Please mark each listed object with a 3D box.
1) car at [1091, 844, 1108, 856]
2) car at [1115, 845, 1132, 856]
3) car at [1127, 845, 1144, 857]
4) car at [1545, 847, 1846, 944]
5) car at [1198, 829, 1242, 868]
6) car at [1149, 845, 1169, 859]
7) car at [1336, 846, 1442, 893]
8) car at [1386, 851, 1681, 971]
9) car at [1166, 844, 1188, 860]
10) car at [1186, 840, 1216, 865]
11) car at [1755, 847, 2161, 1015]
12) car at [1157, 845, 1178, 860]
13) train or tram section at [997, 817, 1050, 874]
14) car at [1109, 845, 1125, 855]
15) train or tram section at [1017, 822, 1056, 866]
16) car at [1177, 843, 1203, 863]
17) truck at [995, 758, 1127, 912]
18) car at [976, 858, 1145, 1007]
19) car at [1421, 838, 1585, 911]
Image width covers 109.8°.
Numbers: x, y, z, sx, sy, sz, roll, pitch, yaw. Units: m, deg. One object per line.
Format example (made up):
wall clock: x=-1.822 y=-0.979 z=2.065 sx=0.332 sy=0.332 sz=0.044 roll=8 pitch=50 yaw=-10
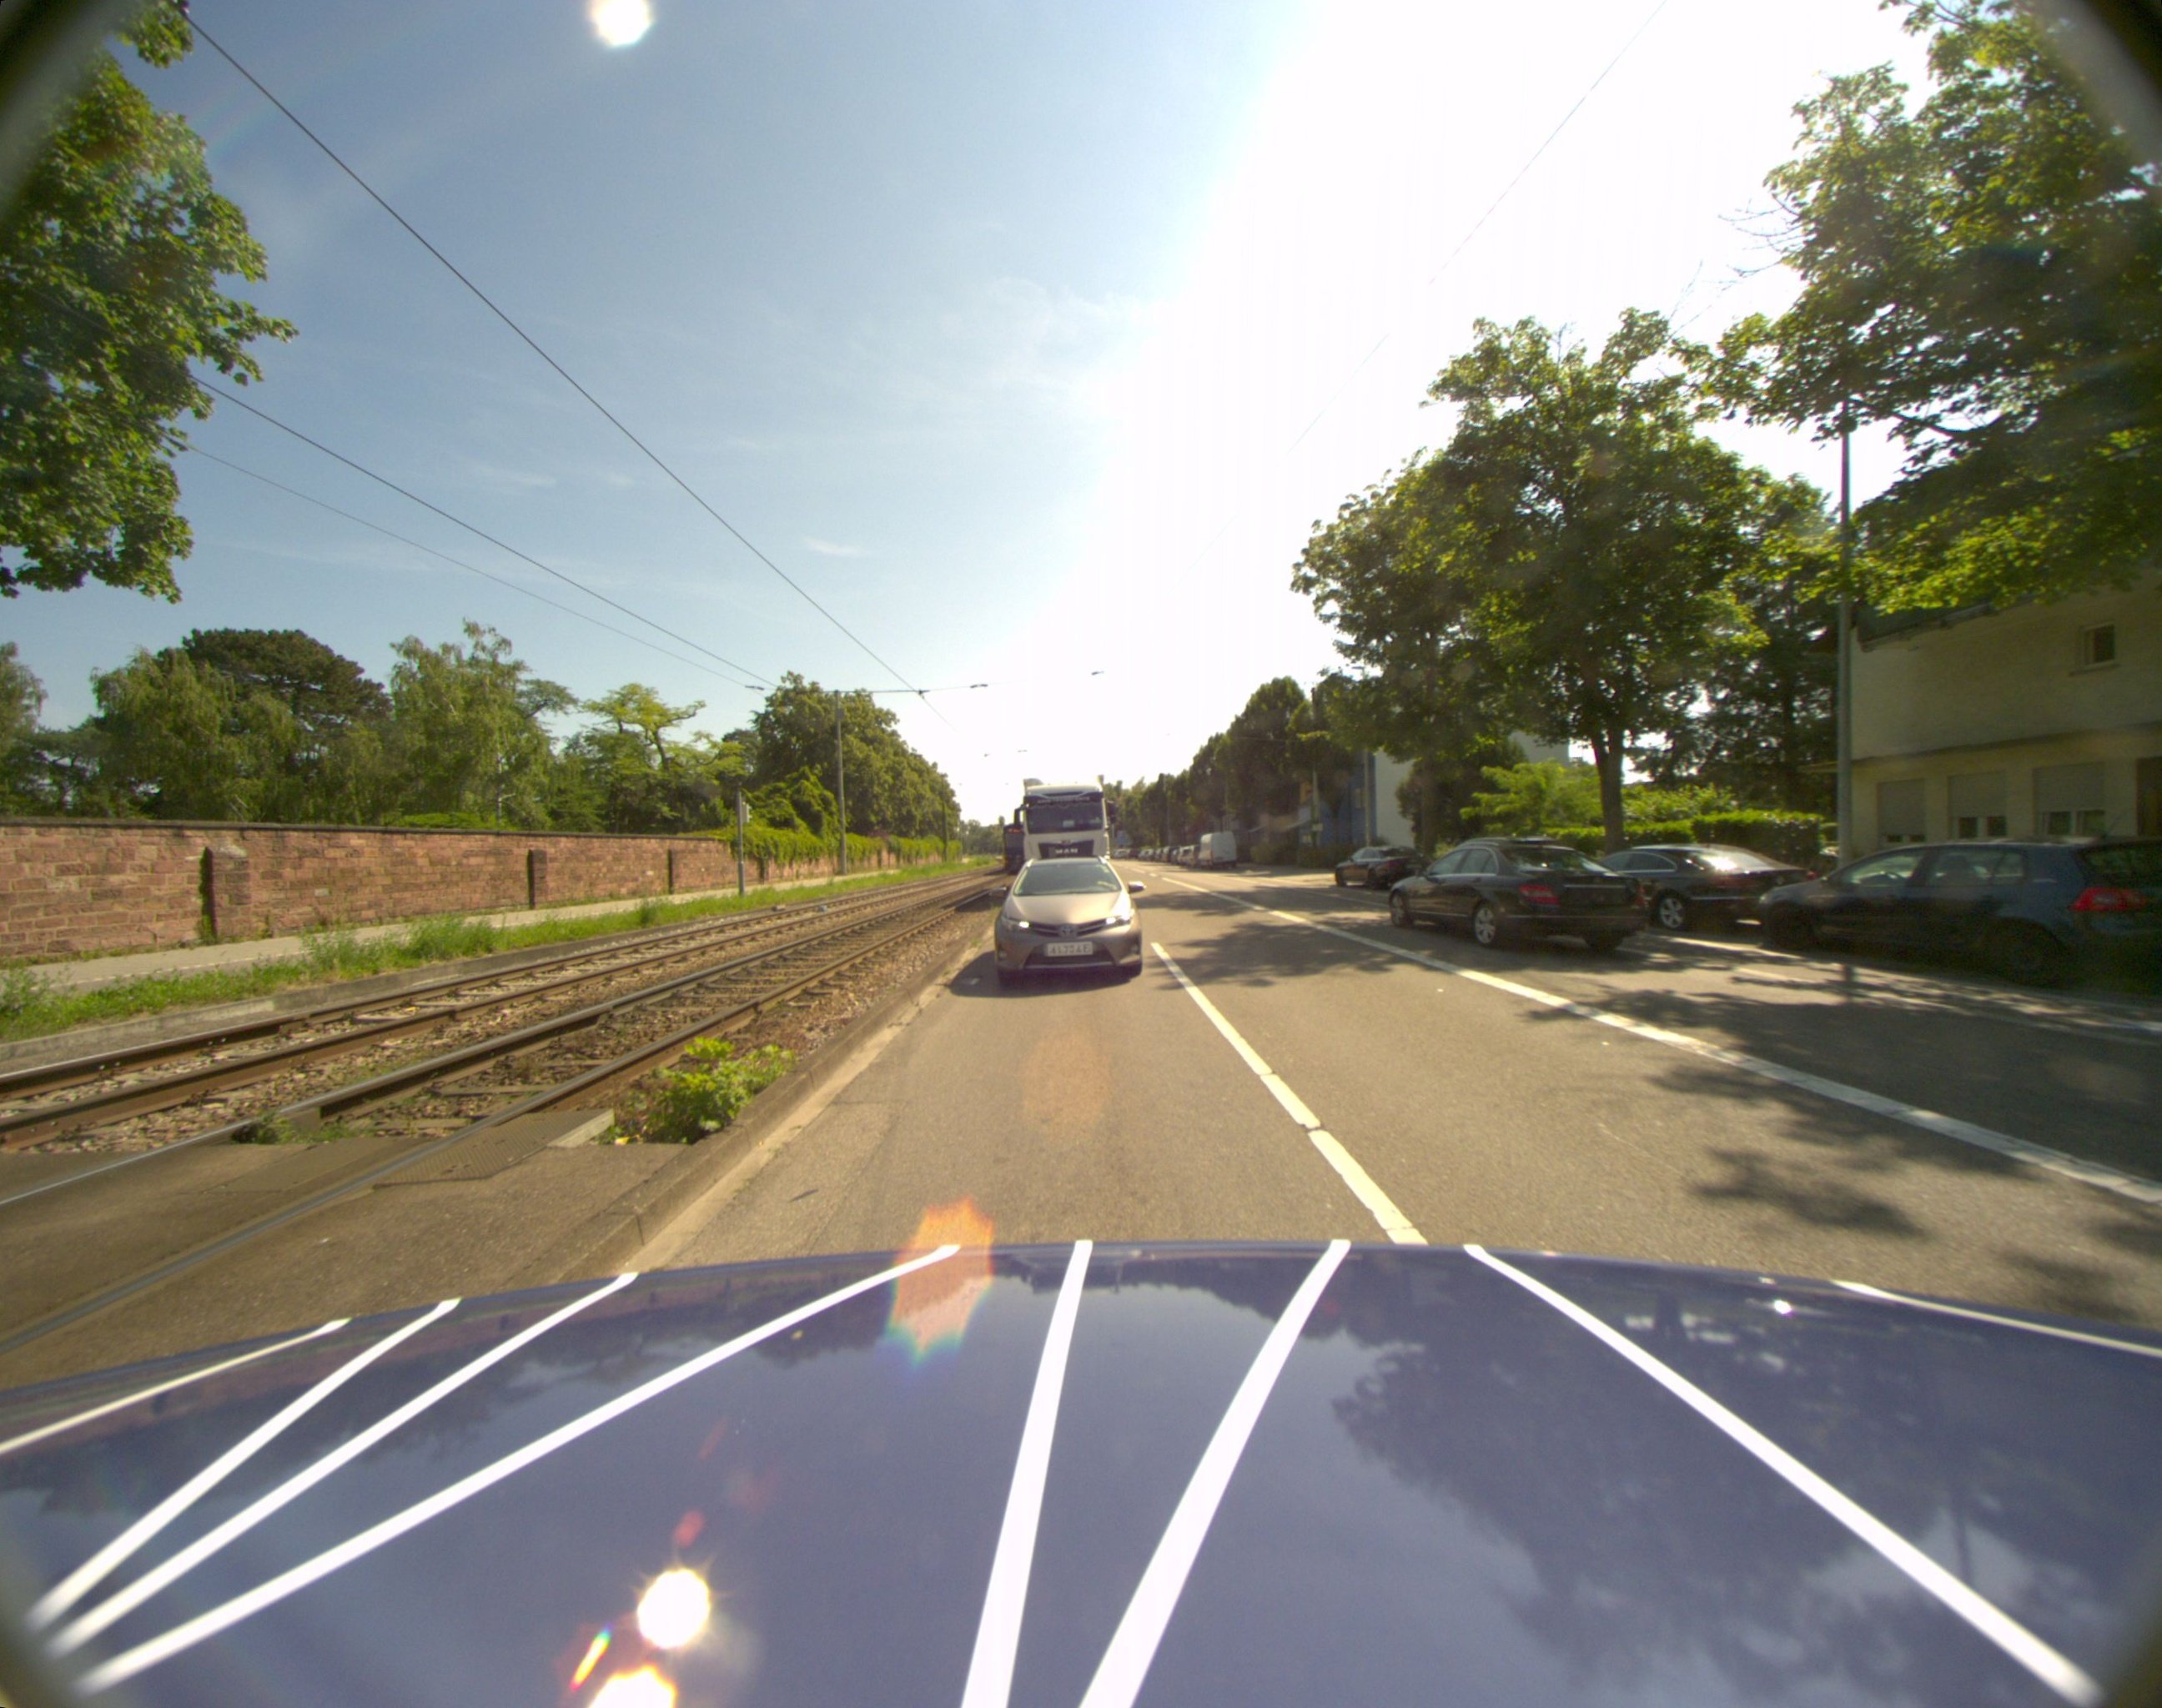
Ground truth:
car: x=2.727 y=-0.563 z=111.084 sx=1.848 sy=1.587 sz=3.997 roll=-3 pitch=1 yaw=-7
car: x=6.661 y=-0.545 z=118.450 sx=1.680 sy=1.493 sz=3.763 roll=-5 pitch=1 yaw=-11
car: x=7.903 y=-0.463 z=109.820 sx=1.680 sy=1.493 sz=3.764 roll=-5 pitch=1 yaw=-7
car: x=10.533 y=0.595 z=13.589 sx=1.701 sy=1.387 sz=4.580 roll=-1 pitch=1 yaw=0
car: x=10.324 y=-0.411 z=56.935 sx=2.016 sy=2.636 sz=6.085 roll=-5 pitch=1 yaw=0
car: x=9.446 y=-0.259 z=92.581 sx=1.679 sy=1.493 sz=3.765 roll=-5 pitch=1 yaw=-4
car: x=10.366 y=0.457 z=25.961 sx=1.679 sy=1.427 sz=4.456 roll=-1 pitch=1 yaw=-2
car: x=6.261 y=0.667 z=11.228 sx=1.790 sy=1.401 sz=4.304 roll=0 pitch=1 yaw=0
car: x=10.213 y=-0.216 z=81.035 sx=1.679 sy=1.493 sz=3.766 roll=-5 pitch=1 yaw=0
car: x=10.280 y=-0.124 z=65.268 sx=1.679 sy=1.925 sz=4.457 roll=-5 pitch=1 yaw=0
car: x=10.320 y=0.666 z=8.720 sx=1.619 sy=1.442 sz=4.082 roll=-1 pitch=1 yaw=1
car: x=9.813 y=-0.167 z=86.374 sx=1.679 sy=1.493 sz=3.765 roll=-5 pitch=1 yaw=-4
train or tram section: x=-4.079 y=-0.692 z=57.594 sx=2.677 sy=3.631 sz=15.302 roll=-3 pitch=1 yaw=0
car: x=5.867 y=-0.590 z=123.246 sx=1.680 sy=1.493 sz=3.763 roll=-5 pitch=1 yaw=-11
train or tram section: x=-4.126 y=-1.043 z=74.630 sx=2.680 sy=3.631 sz=18.952 roll=-3 pitch=1 yaw=0
car: x=10.142 y=-0.097 z=70.912 sx=1.679 sy=1.659 sz=4.147 roll=-5 pitch=1 yaw=0
truck: x=-0.553 y=-0.660 z=27.985 sx=3.391 sy=4.046 sz=14.283 roll=-3 pitch=1 yaw=0
car: x=-0.219 y=0.845 z=10.071 sx=1.720 sy=1.439 sz=4.030 roll=-3 pitch=1 yaw=0
car: x=10.448 y=0.446 z=19.215 sx=1.679 sy=1.603 sz=4.241 roll=-1 pitch=1 yaw=-2
